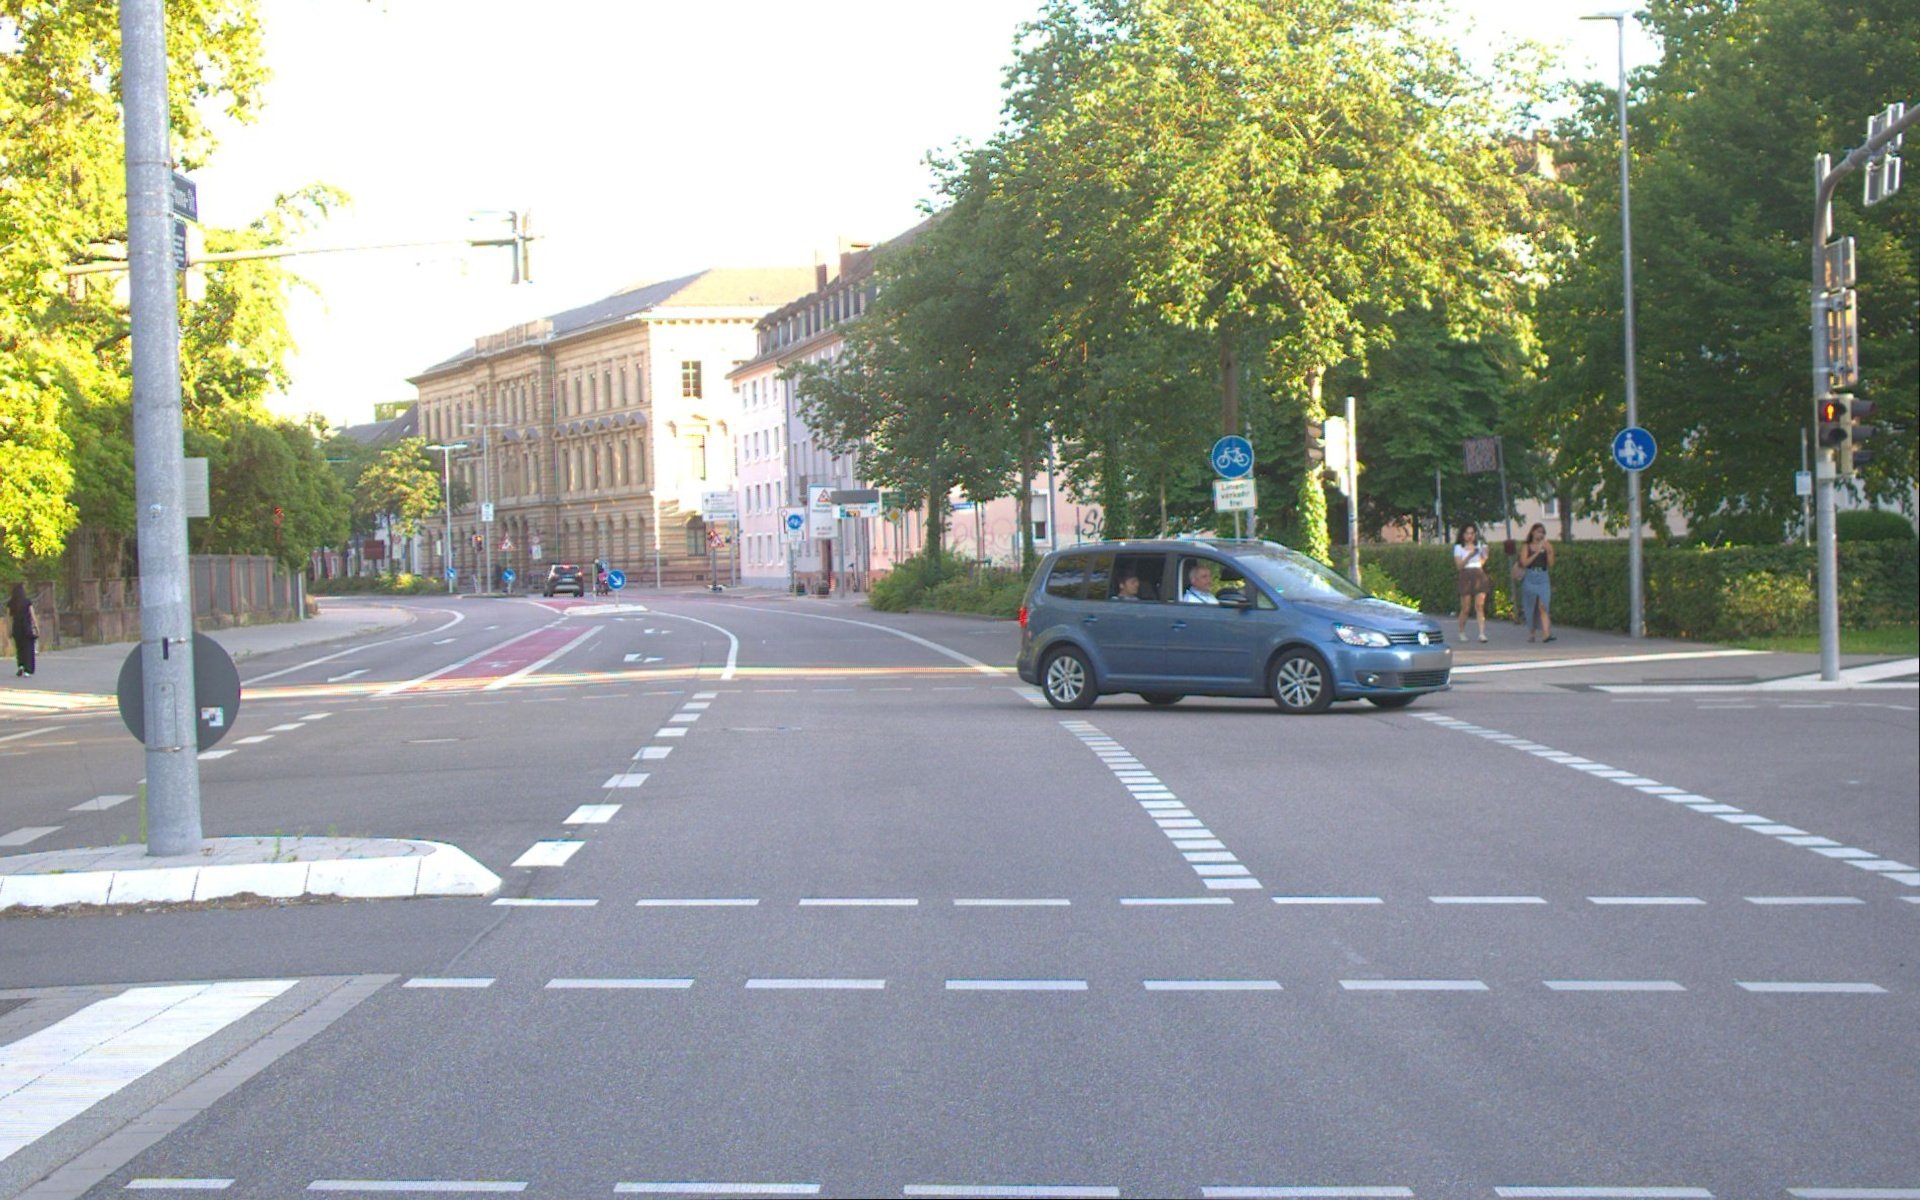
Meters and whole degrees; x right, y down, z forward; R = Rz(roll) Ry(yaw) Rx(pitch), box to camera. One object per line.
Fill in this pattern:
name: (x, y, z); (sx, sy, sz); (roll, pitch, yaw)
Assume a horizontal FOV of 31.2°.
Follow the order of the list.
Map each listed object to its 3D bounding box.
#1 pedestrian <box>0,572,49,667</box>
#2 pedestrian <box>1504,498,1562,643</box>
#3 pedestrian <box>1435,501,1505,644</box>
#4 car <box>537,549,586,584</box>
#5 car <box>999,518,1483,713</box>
pedestrian: (-15.754, 0.317, 57.898); (0.599, 1.568, 0.646); (-2, 1, -1)
pedestrian: (8.018, -0.410, 48.104); (0.635, 2.007, 0.720); (-1, 1, -4)
pedestrian: (7.233, -0.399, 48.783); (0.870, 2.007, 0.722); (0, 1, -1)
car: (-19.671, -1.651, 169.724); (1.819, 1.583, 4.001); (-3, 1, -14)
car: (2.627, 0.145, 32.766); (4.291, 1.714, 1.851); (-1, 1, 41)
